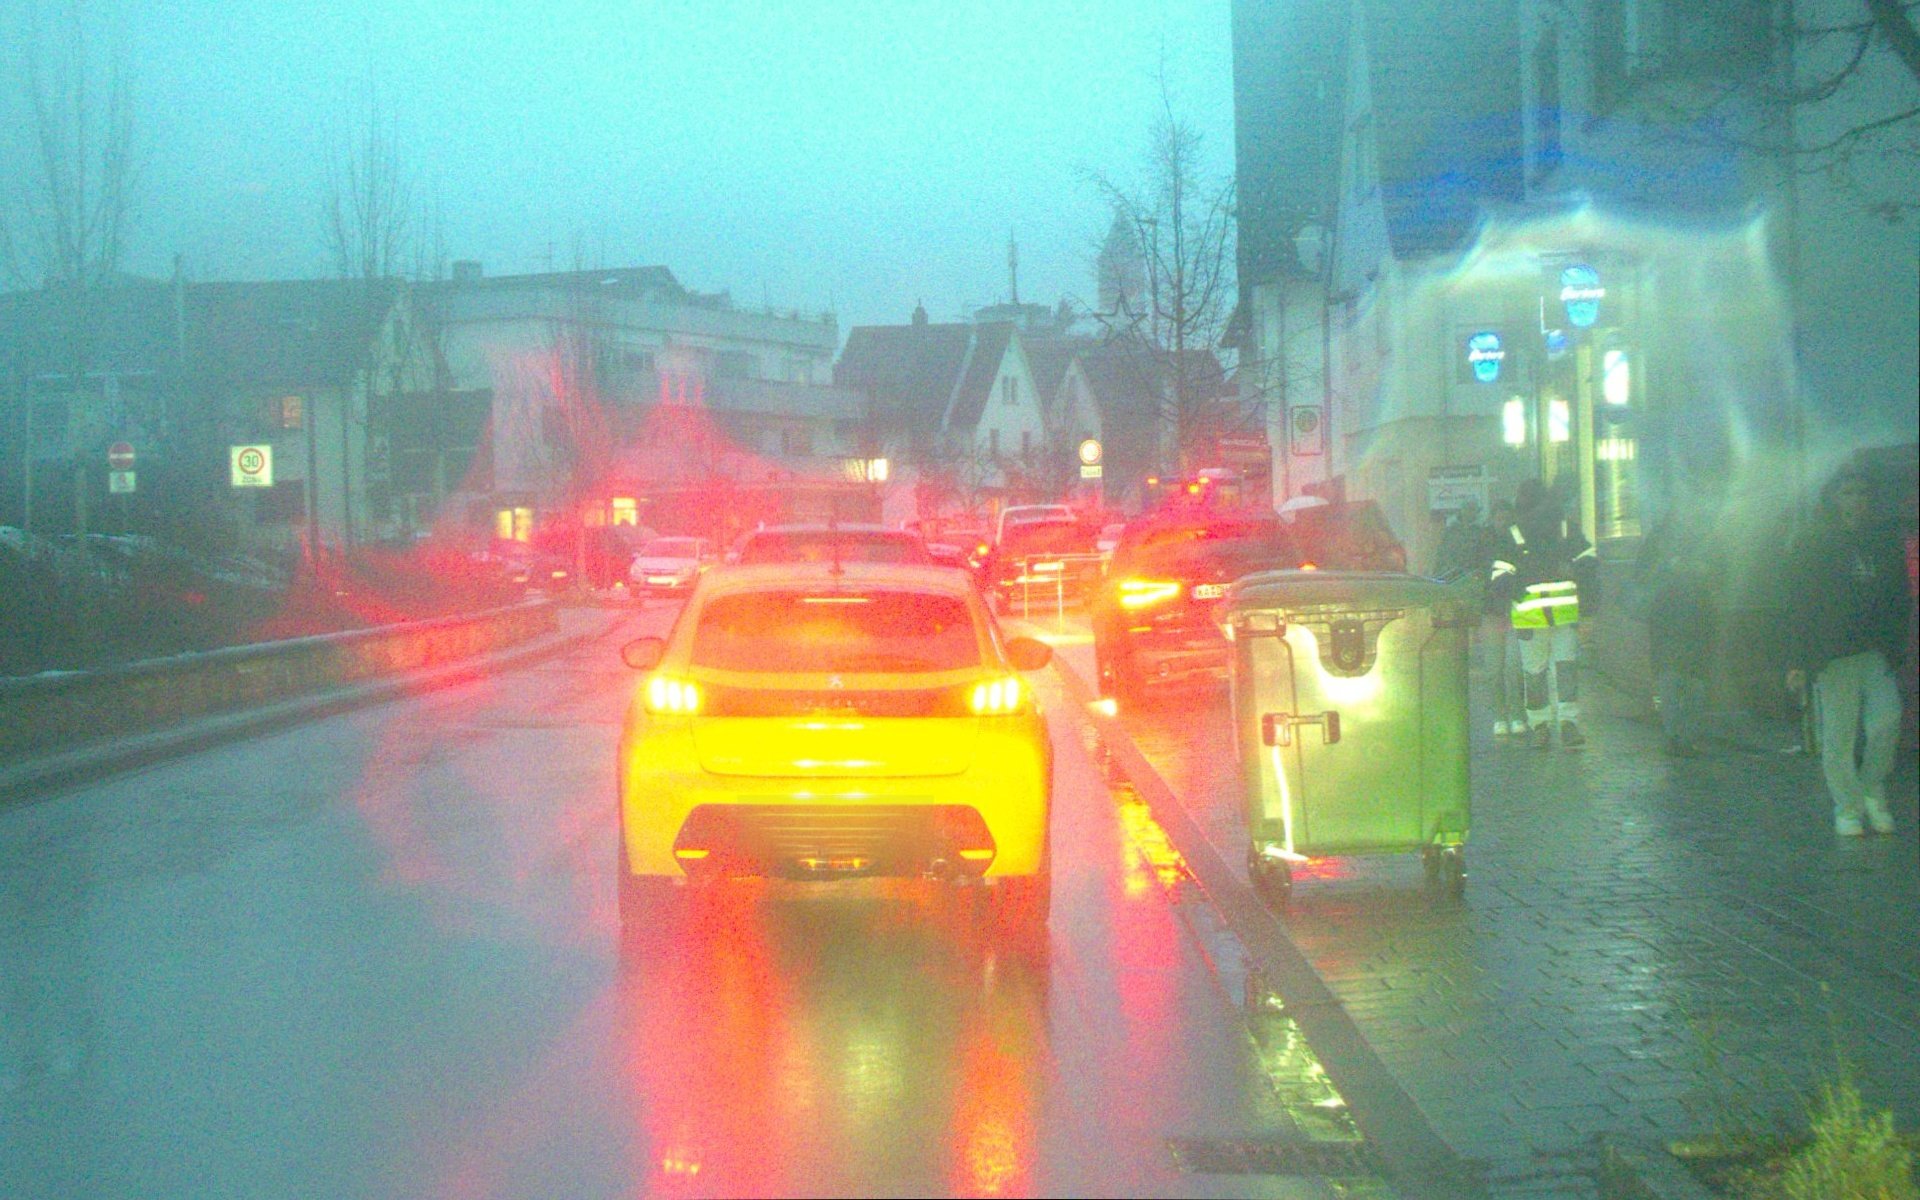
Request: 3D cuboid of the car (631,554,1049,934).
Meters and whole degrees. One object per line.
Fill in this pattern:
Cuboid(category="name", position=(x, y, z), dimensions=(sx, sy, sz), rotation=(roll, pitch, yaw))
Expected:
Cuboid(category="car", position=(-0.472, 0.522, 14.463), dimensions=(1.563, 1.408, 3.018), rotation=(1, 1, -1))

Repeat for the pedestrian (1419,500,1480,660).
Cuboid(category="pedestrian", position=(5.317, -0.210, 37.318), dimensions=(0.618, 1.721, 0.501), rotation=(0, -1, 11))

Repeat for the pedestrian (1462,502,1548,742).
Cuboid(category="pedestrian", position=(3.823, 0.141, 24.060), dimensions=(0.480, 1.625, 1.018), rotation=(-2, 1, 13))

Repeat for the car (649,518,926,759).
Cuboid(category="car", position=(-1.191, 0.228, 25.175), dimensions=(1.766, 1.623, 3.586), rotation=(1, 1, 1))

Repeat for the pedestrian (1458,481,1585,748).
Cuboid(category="pedestrian", position=(3.716, 0.080, 22.716), dimensions=(0.712, 1.709, 1.034), rotation=(-2, 1, 13))

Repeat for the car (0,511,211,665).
Cuboid(category="car", position=(-10.797, -0.136, 38.062), dimensions=(4.625, 1.662, 2.000), rotation=(0, 0, -3))

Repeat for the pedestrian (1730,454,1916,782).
Cuboid(category="pedestrian", position=(4.592, 0.096, 18.351), dimensions=(0.747, 1.673, 1.052), rotation=(-2, 0, 5))

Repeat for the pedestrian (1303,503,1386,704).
Cuboid(category="pedestrian", position=(3.320, 0.025, 29.736), dimensions=(0.573, 1.694, 0.653), rotation=(-3, 0, 1))

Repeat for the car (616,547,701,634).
Cuboid(category="car", position=(-7.447, -0.211, 85.301), dimensions=(1.919, 2.021, 3.975), rotation=(1, -1, -3))

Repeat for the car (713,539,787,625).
Cuboid(category="car", position=(-5.669, -0.468, 93.171), dimensions=(1.919, 2.208, 3.975), rotation=(1, -1, -3))

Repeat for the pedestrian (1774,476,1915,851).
Cuboid(category="pedestrian", position=(4.006, 0.287, 15.603), dimensions=(0.529, 1.647, 0.953), rotation=(0, -1, 9))

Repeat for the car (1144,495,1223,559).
Cuboid(category="car", position=(7.113, -2.306, 108.915), dimensions=(1.871, 1.828, 4.441), rotation=(0, -1, 12))

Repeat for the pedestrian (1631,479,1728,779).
Cuboid(category="pedestrian", position=(4.405, 0.163, 21.071), dimensions=(0.529, 1.794, 0.864), rotation=(0, 1, 9))

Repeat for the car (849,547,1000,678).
Cuboid(category="car", position=(-0.394, 0.106, 37.170), dimensions=(1.541, 1.327, 3.311), rotation=(1, 1, -1))

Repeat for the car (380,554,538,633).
Cuboid(category="car", position=(-12.944, -0.139, 88.706), dimensions=(4.166, 1.969, 1.818), rotation=(-1, -2, 43))

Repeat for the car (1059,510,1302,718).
Cuboid(category="car", position=(1.888, 0.092, 30.612), dimensions=(1.735, 1.686, 4.386), rotation=(-1, 1, -1))

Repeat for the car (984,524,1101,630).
Cuboid(category="car", position=(1.459, -0.420, 62.518), dimensions=(1.997, 1.858, 4.083), rotation=(0, 0, 0))

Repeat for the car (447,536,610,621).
Cuboid(category="car", position=(-11.575, -0.541, 92.082), dimensions=(4.383, 2.159, 1.995), rotation=(-1, -2, 43))

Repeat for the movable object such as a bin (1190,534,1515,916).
Cuboid(category="movable object such as a bin", position=(1.596, 0.482, 14.268), dimensions=(1.129, 1.415, 1.417), rotation=(-4, 2, 1))
